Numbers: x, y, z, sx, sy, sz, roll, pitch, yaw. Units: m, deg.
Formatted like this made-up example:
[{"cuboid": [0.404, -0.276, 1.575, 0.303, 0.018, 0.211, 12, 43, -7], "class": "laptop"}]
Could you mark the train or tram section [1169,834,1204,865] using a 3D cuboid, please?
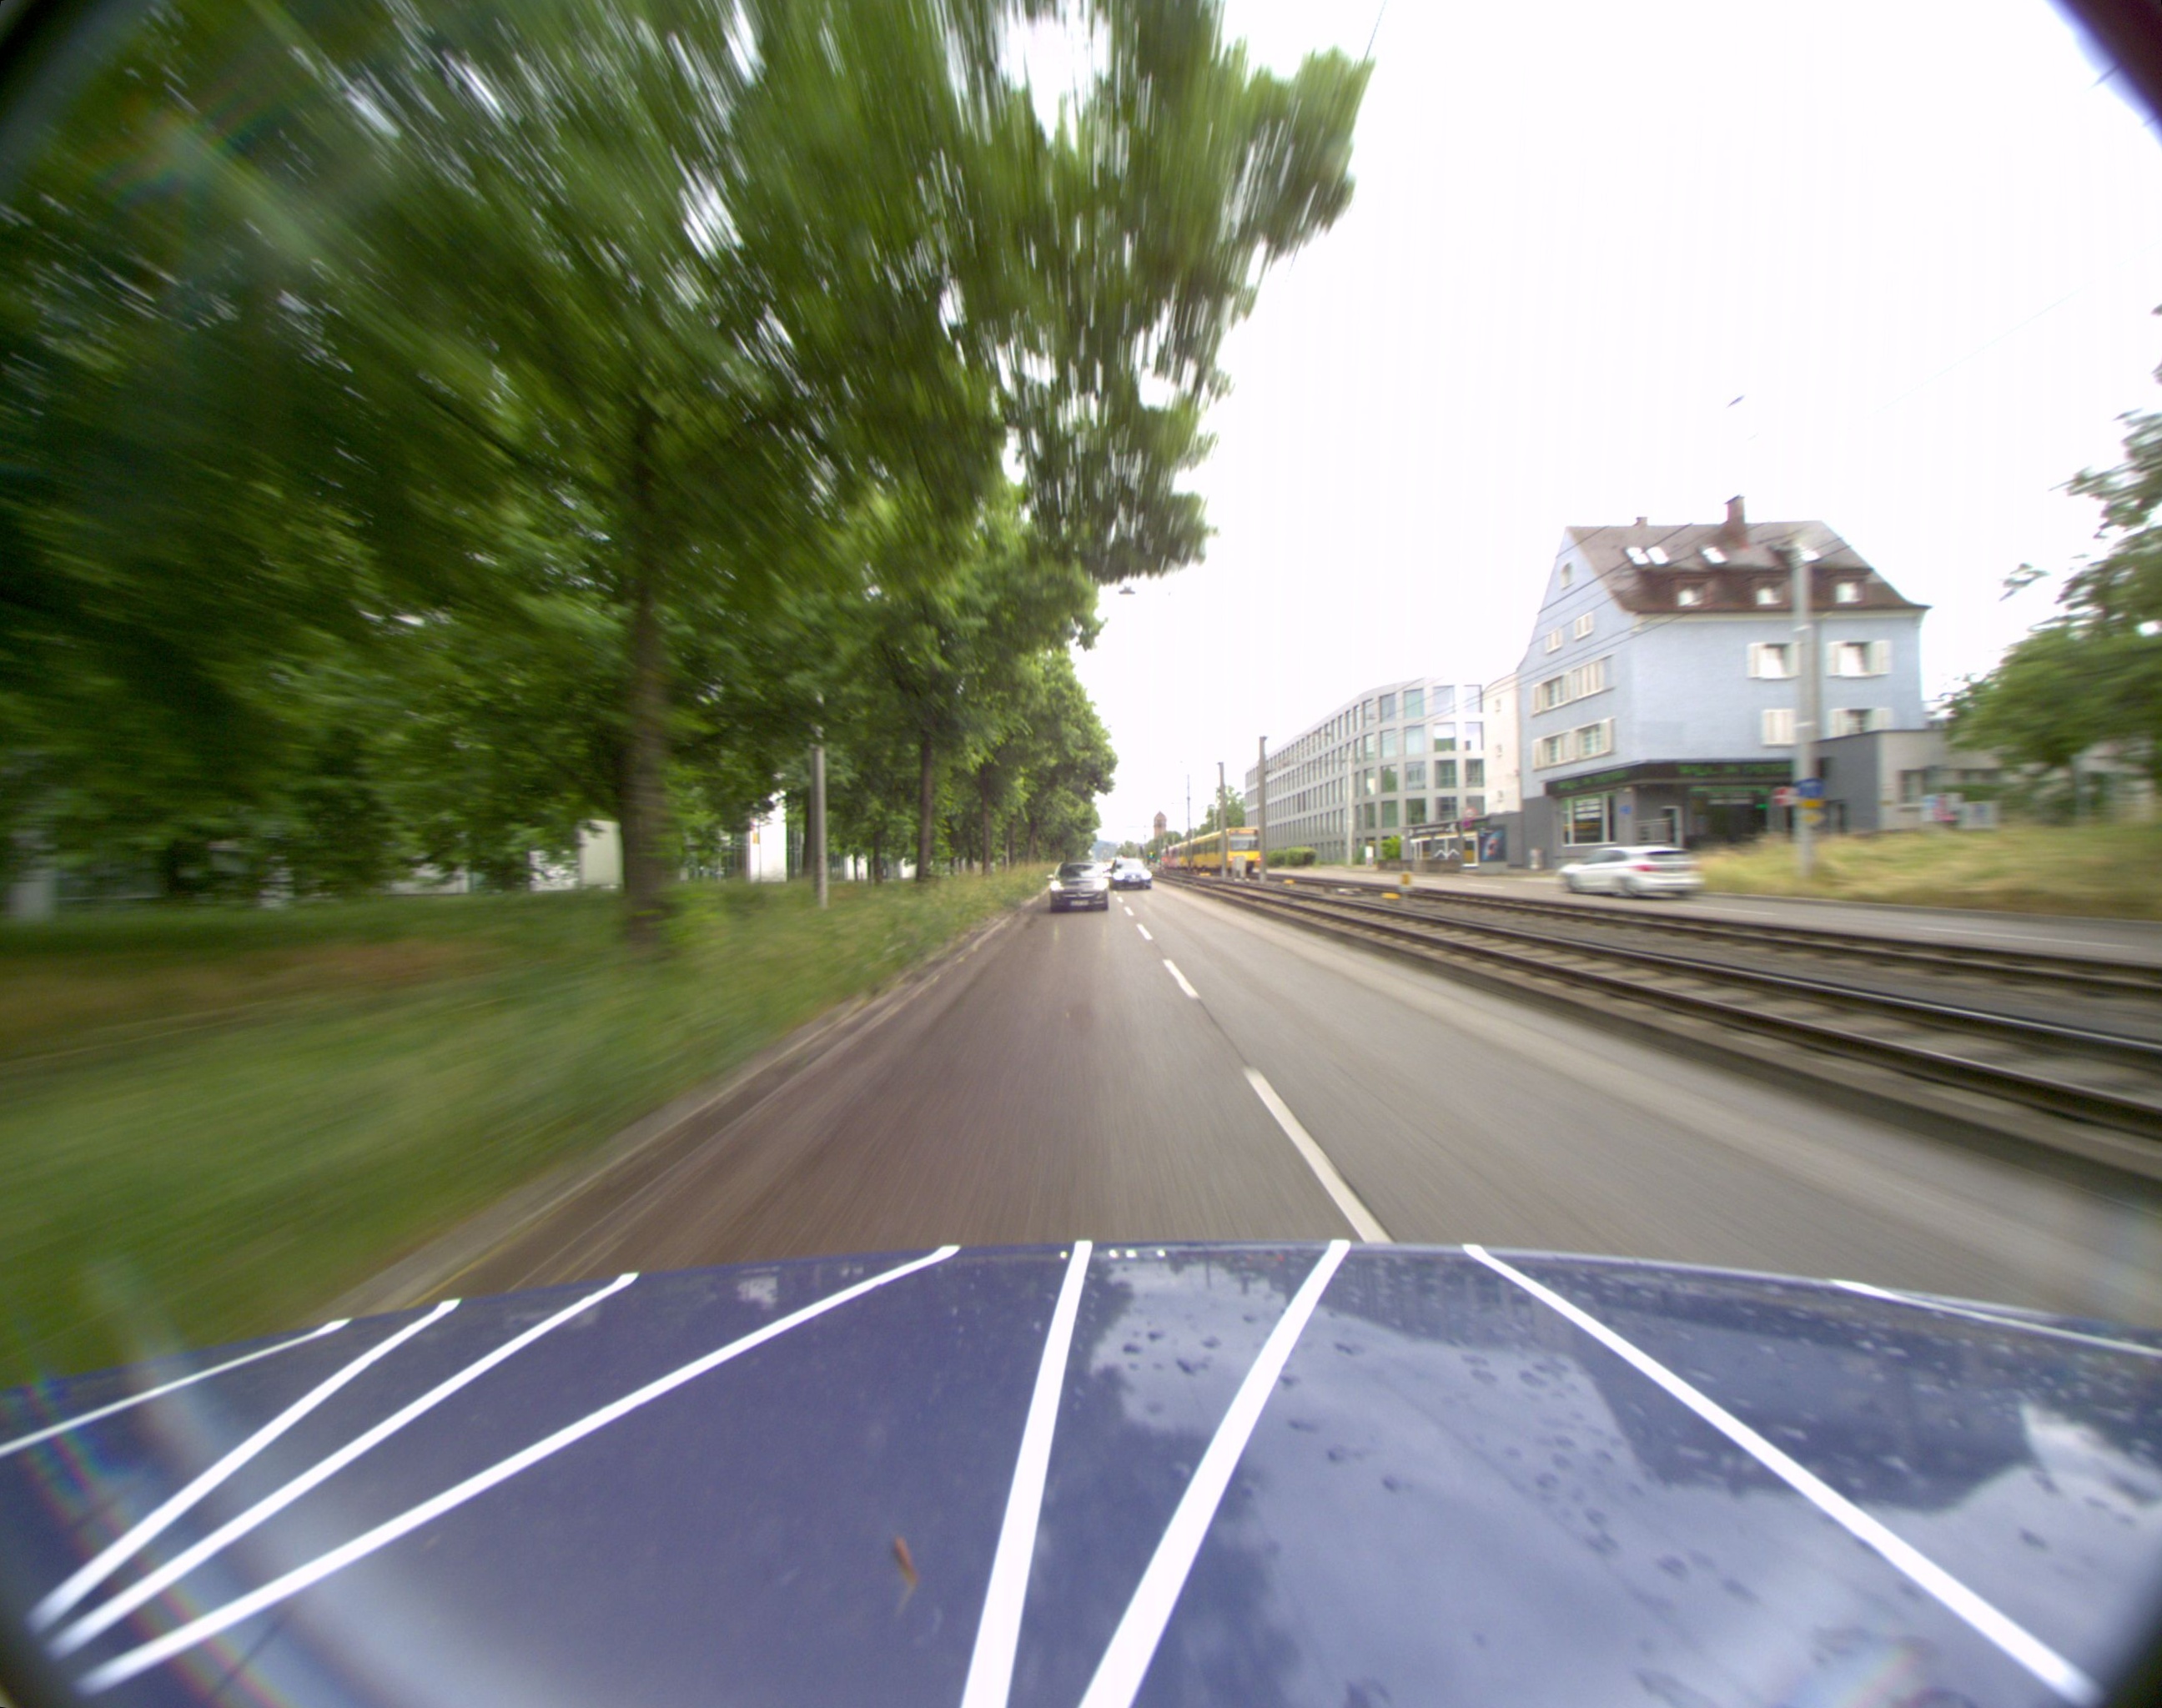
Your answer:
[{"cuboid": [14.192, -0.457, 103.718, 2.974, 3.788, 18.618, -1, 0, 2], "class": "train or tram section"}]

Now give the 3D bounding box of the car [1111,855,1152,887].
[{"cuboid": [2.367, 0.778, 36.526, 1.770, 1.439, 3.833, -1, 0, 1], "class": "car"}]

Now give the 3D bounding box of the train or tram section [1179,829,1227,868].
[{"cuboid": [13.368, -0.529, 84.857, 2.974, 3.788, 19.102, -1, 0, 2], "class": "train or tram section"}]

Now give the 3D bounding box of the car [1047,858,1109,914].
[{"cuboid": [-0.009, 0.922, 23.711, 1.698, 1.439, 4.420, -3, 0, 2], "class": "car"}]

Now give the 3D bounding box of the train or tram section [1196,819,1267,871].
[{"cuboid": [12.555, -0.619, 65.540, 2.974, 3.788, 19.523, -1, 0, 2], "class": "train or tram section"}]

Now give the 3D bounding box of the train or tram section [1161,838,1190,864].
[{"cuboid": [15.021, -0.370, 122.299, 2.974, 3.788, 18.618, -1, 0, 2], "class": "train or tram section"}]

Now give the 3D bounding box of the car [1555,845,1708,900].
[{"cuboid": [16.945, 0.521, 23.687, 1.657, 1.521, 4.381, -1, 0, 2], "class": "car"}]

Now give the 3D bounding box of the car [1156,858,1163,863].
[{"cuboid": [24.479, 2.038, 237.290, 1.812, 1.627, 3.564, -2, -1, 1], "class": "car"}]
